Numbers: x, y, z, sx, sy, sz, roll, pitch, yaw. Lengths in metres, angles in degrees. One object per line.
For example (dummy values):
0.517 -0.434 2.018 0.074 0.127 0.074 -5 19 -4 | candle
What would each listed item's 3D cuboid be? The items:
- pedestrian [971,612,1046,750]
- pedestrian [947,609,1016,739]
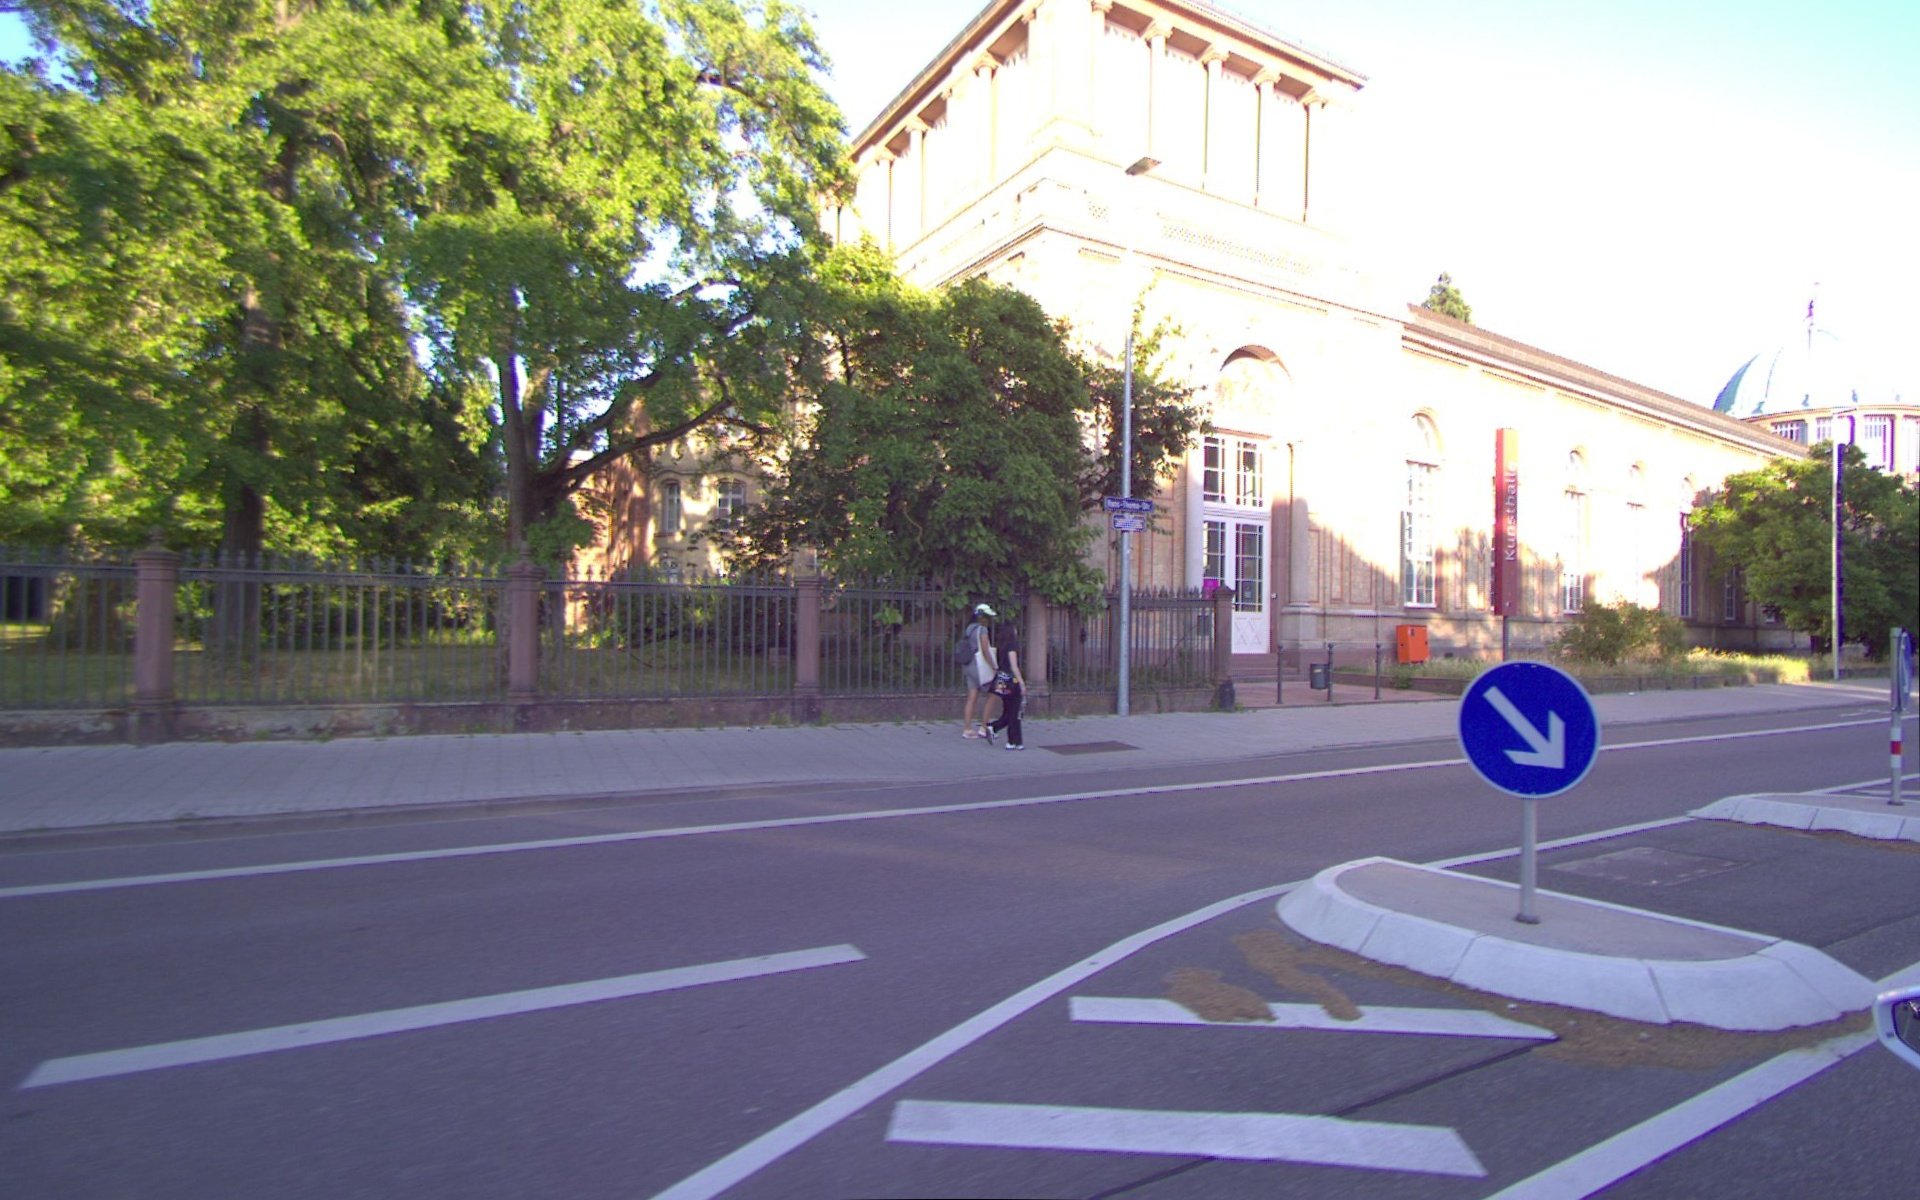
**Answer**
0.590 0.973 12.397 0.679 1.644 0.679 1 -1 -25 | pedestrian
0.271 0.943 13.172 0.678 1.644 0.679 1 -1 -22 | pedestrian
